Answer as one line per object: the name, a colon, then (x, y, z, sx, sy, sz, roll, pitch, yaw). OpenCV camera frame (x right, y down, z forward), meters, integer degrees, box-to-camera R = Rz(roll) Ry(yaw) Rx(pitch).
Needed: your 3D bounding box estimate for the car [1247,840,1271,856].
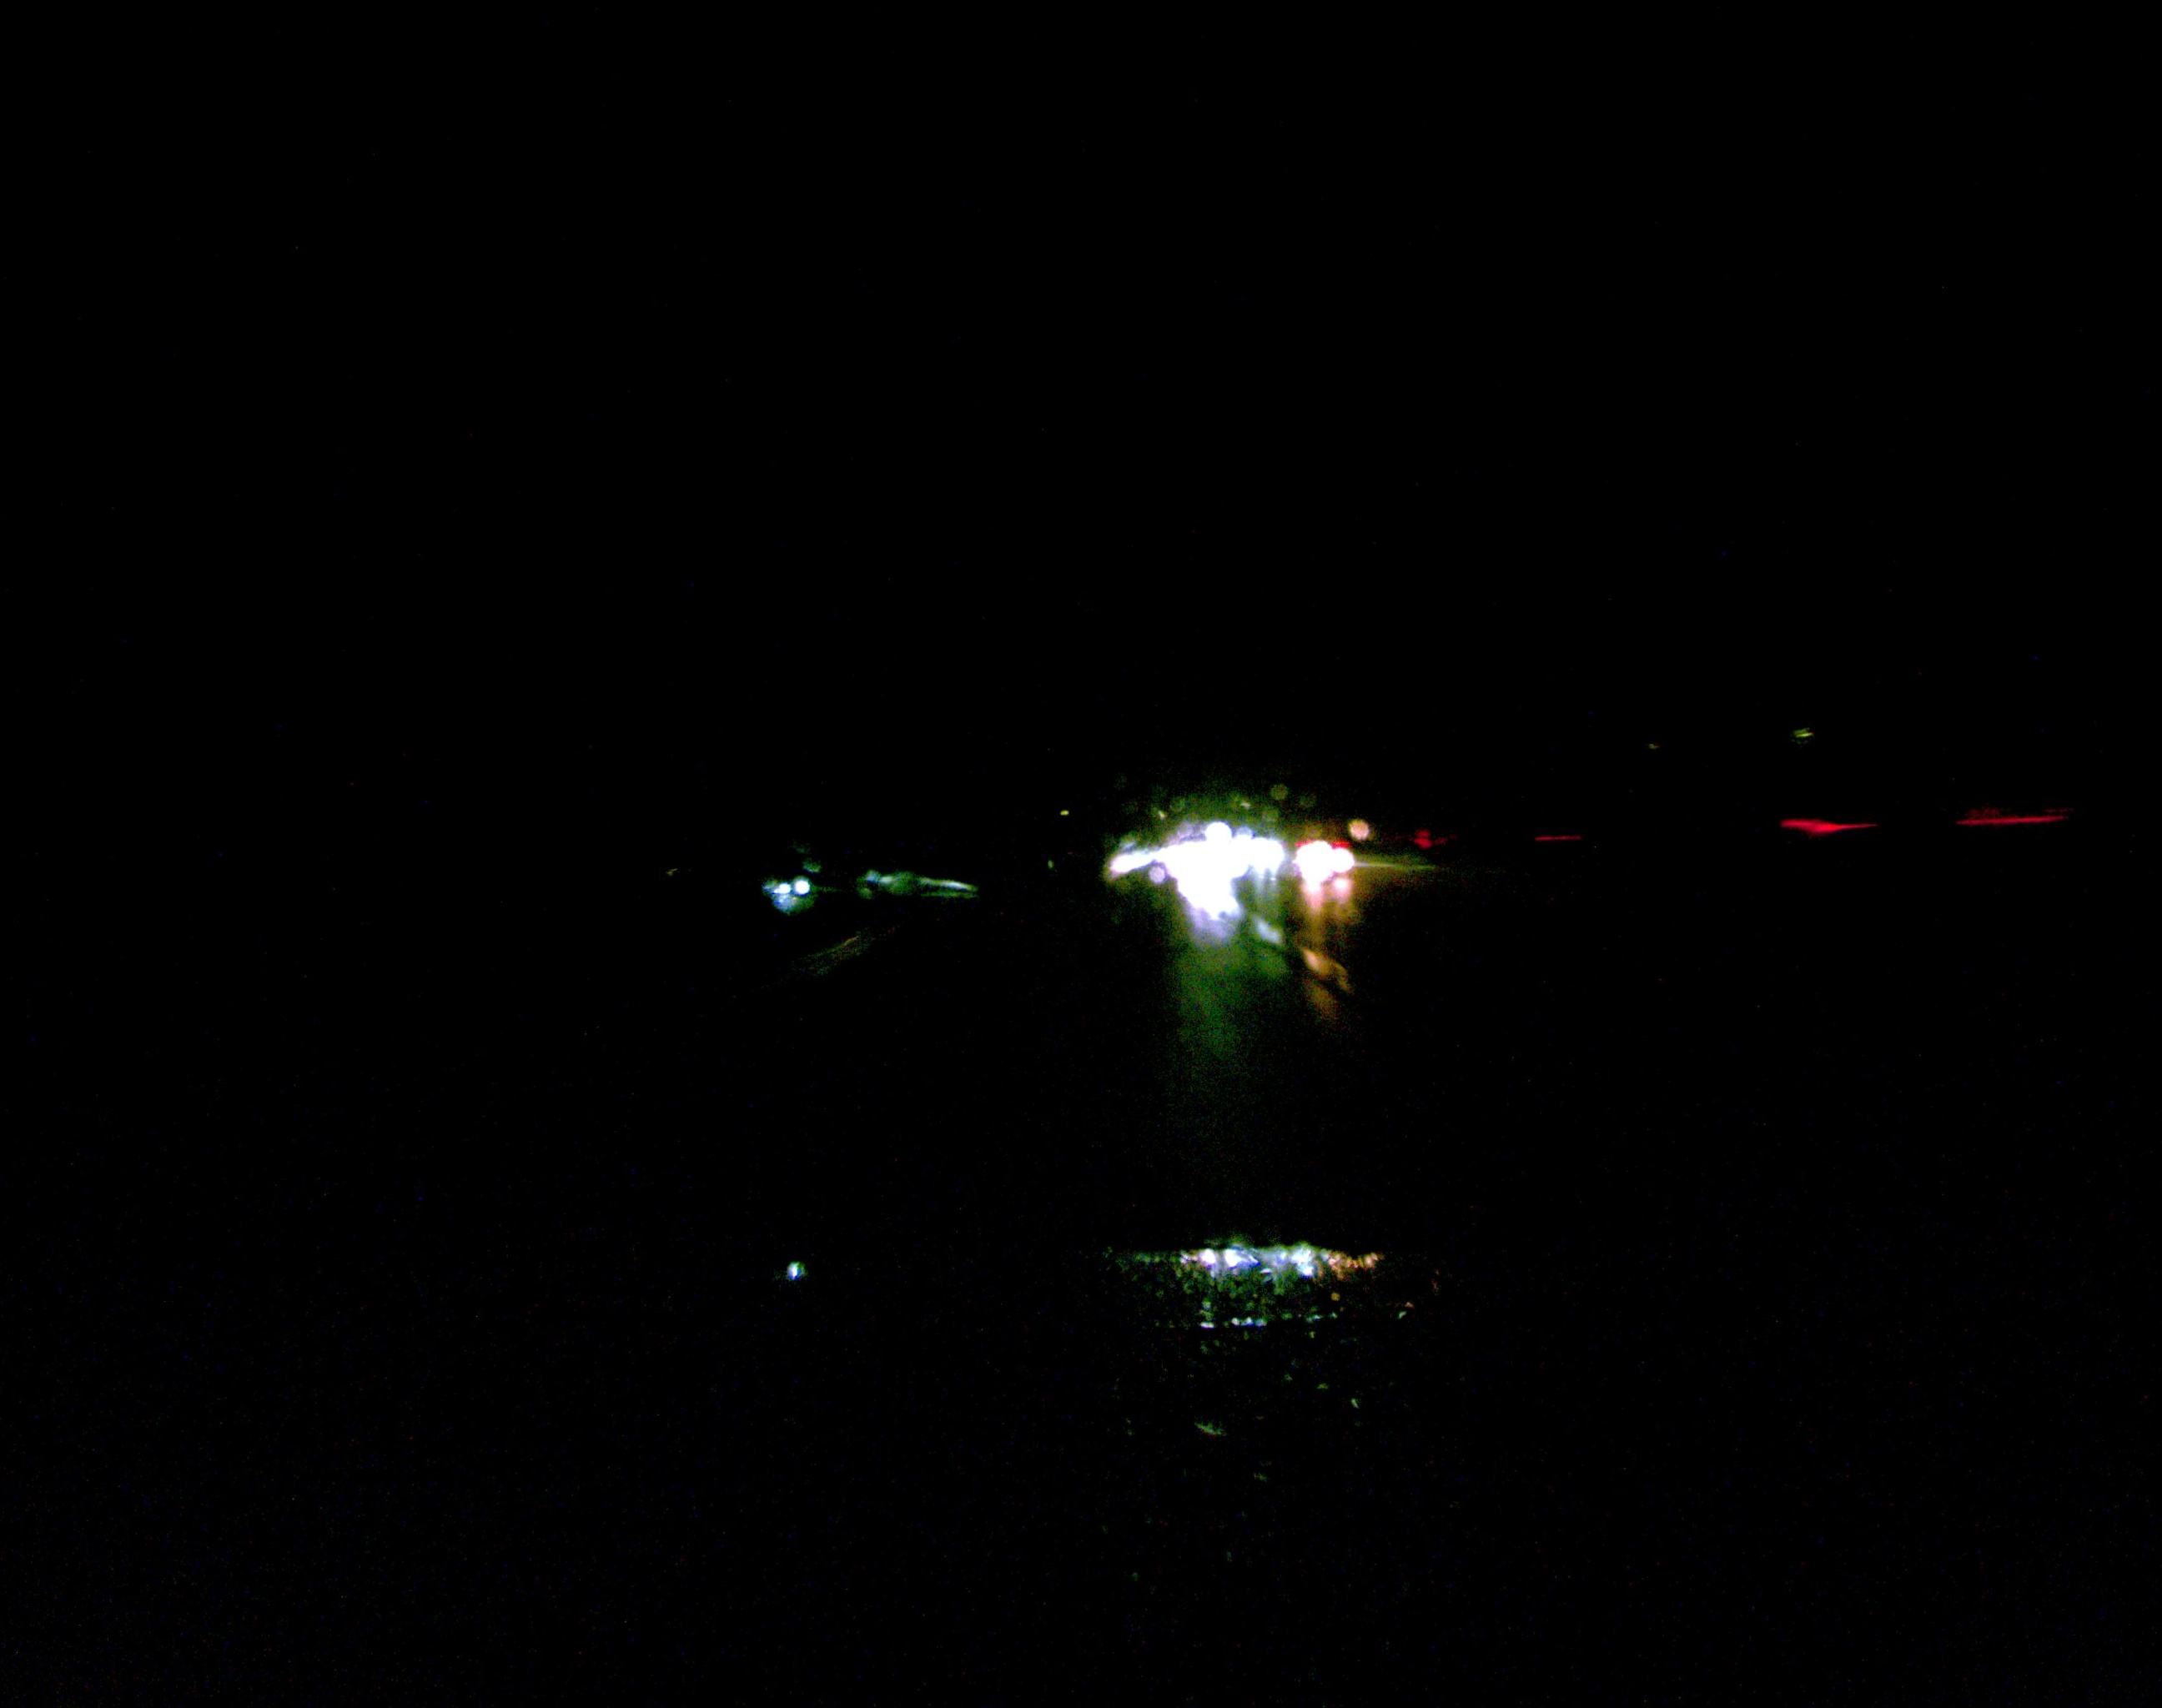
car: (19.707, -0.656, 84.344, 1.921, 1.587, 4.001, -4, 1, 4)

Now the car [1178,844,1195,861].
car: (14.230, -0.236, 102.933, 1.998, 2.002, 4.001, -6, 1, 7)

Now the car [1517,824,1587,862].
car: (28.446, -0.672, 46.063, 1.998, 2.002, 4.001, -6, 1, 7)

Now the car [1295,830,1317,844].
car: (31.568, -2.379, 106.561, 1.998, 1.761, 4.001, -6, 1, 5)

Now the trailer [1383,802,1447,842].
trailer: (36.196, -3.392, 83.053, 2.657, 3.709, 13.950, -6, 0, 9)

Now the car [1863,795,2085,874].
car: (26.983, -0.564, 23.211, 1.998, 2.002, 4.000, -6, 1, 2)

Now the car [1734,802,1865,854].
car: (31.277, -1.097, 33.252, 1.998, 1.970, 4.001, -6, 0, 4)

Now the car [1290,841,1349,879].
car: (11.192, 0.241, 35.979, 1.726, 1.587, 4.001, -4, 1, 4)

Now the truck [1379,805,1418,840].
truck: (37.248, -3.602, 89.364, 2.658, 3.709, 5.706, -6, 1, 9)

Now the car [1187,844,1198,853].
car: (24.131, -1.247, 164.346, 1.928, 1.783, 4.001, -5, 0, 6)

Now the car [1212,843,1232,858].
car: (16.386, -0.448, 88.469, 1.920, 1.587, 4.002, -4, 1, 7)

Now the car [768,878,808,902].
car: (-24.941, 3.046, 64.656, 2.003, 1.737, 4.091, -6, 1, -37)

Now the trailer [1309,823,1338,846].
trailer: (46.135, -3.666, 144.872, 2.775, 4.006, 14.020, -6, 0, 9)

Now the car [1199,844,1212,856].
car: (21.458, -0.718, 131.103, 1.928, 1.783, 4.001, -5, 0, 6)

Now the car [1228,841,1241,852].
car: (27.447, -1.407, 136.074, 1.928, 1.783, 4.002, -5, 1, 9)

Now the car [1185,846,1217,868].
car: (9.607, 0.251, 61.196, 1.921, 1.587, 4.000, -4, 1, 1)

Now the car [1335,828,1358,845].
car: (35.859, -2.397, 102.821, 1.998, 2.002, 4.001, -6, 1, 7)
